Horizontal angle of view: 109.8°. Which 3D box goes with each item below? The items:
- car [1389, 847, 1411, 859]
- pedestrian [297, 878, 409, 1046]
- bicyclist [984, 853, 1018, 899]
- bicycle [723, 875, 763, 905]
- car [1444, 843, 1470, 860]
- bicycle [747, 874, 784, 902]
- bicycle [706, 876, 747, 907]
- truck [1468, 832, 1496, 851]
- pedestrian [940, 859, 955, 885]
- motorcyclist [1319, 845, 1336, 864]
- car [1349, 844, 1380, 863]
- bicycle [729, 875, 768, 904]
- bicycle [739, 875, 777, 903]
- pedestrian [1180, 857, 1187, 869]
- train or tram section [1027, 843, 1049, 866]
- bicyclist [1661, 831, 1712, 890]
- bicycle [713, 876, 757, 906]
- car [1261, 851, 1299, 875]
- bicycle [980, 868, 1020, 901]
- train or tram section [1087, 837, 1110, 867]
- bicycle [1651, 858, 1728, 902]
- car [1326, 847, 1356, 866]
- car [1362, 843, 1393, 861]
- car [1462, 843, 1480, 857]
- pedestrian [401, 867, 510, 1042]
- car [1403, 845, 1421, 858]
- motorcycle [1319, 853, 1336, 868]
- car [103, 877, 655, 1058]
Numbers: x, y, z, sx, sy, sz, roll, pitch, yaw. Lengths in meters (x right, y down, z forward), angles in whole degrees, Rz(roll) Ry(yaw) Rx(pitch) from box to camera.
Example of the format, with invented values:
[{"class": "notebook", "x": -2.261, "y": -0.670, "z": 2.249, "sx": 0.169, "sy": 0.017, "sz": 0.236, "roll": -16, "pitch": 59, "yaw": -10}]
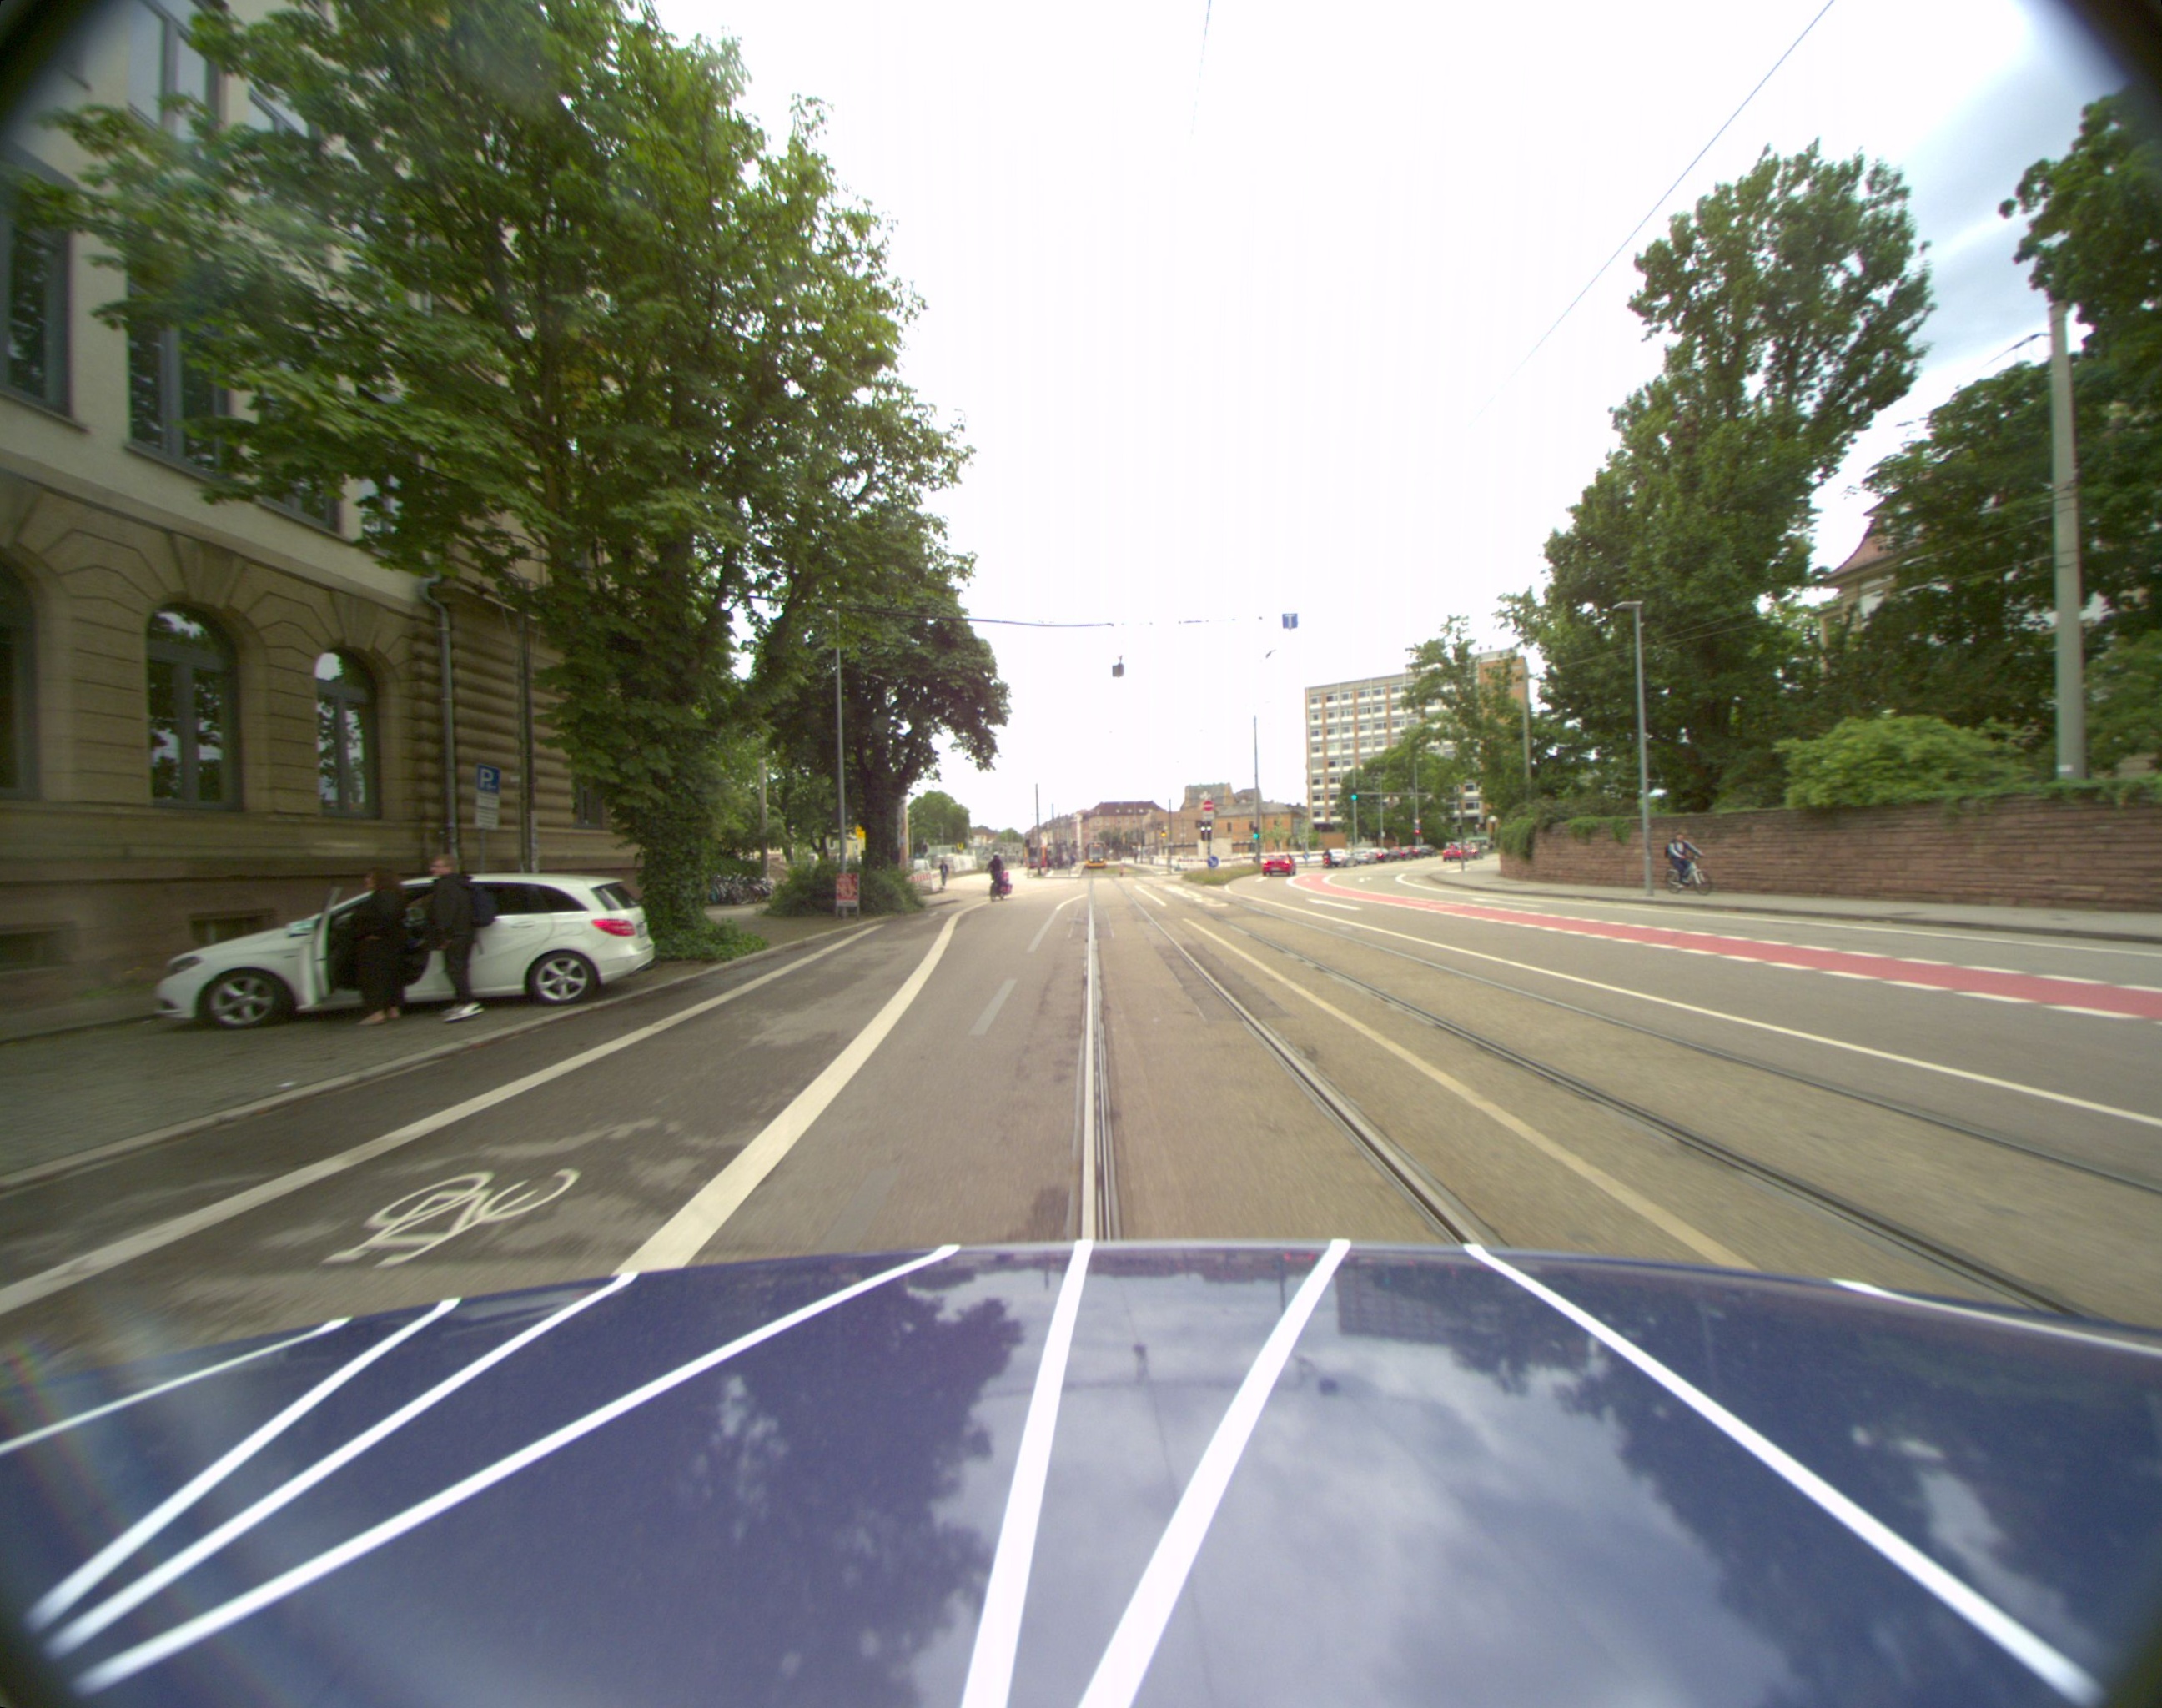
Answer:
[{"class": "car", "x": 32.833, "y": -0.093, "z": 78.182, "sx": 1.420, "sy": 1.164, "sz": 3.077, "roll": -1, "pitch": 1, "yaw": 37}, {"class": "pedestrian", "x": -7.494, "y": 1.072, "z": 7.852, "sx": 0.592, "sy": 1.616, "sz": 0.643, "roll": -2, "pitch": 1, "yaw": -23}, {"class": "bicyclist", "x": -3.245, "y": 0.879, "z": 30.929, "sx": 0.880, "sy": 1.811, "sz": 1.480, "roll": -2, "pitch": -1, "yaw": 14}, {"class": "bicycle", "x": -13.549, "y": 1.450, "z": 30.466, "sx": 1.341, "sy": 1.119, "sz": 0.476, "roll": -2, "pitch": 1, "yaw": 3}, {"class": "car", "x": 36.697, "y": -0.266, "z": 74.103, "sx": 1.828, "sy": 1.573, "sz": 4.007, "roll": -2, "pitch": 1, "yaw": 33}, {"class": "bicycle", "x": -13.335, "y": 1.434, "z": 32.118, "sx": 1.341, "sy": 1.119, "sz": 0.476, "roll": -2, "pitch": 1, "yaw": 3}, {"class": "bicycle", "x": -13.680, "y": 1.446, "z": 29.368, "sx": 1.382, "sy": 1.155, "sz": 0.425, "roll": 0, "pitch": 3, "yaw": 4}, {"class": "truck", "x": 68.294, "y": -2.156, "z": 129.304, "sx": 3.485, "sy": 2.962, "sz": 7.627, "roll": -2, "pitch": 1, "yaw": 33}, {"class": "pedestrian", "x": -9.051, "y": 1.207, "z": 51.451, "sx": 0.917, "sy": 1.699, "sz": 1.157, "roll": -2, "pitch": 1, "yaw": -11}, {"class": "motorcyclist", "x": 19.325, "y": 0.026, "z": 59.491, "sx": 1.074, "sy": 1.477, "sz": 1.253, "roll": -2, "pitch": 0, "yaw": 23}, {"class": "car", "x": 25.705, "y": -0.076, "z": 68.800, "sx": 1.682, "sy": 1.641, "sz": 3.988, "roll": -1, "pitch": 1, "yaw": 35}, {"class": "bicycle", "x": -13.545, "y": 1.447, "z": 30.966, "sx": 1.341, "sy": 1.119, "sz": 0.476, "roll": -2, "pitch": 1, "yaw": 3}, {"class": "bicycle", "x": -13.360, "y": 1.438, "z": 31.454, "sx": 1.341, "sy": 1.119, "sz": 0.476, "roll": -2, "pitch": 1, "yaw": 3}, {"class": "pedestrian", "x": 8.753, "y": 0.753, "z": 65.171, "sx": 0.544, "sy": 1.050, "sz": 0.637, "roll": -2, "pitch": 1, "yaw": 9}, {"class": "train or tram section", "x": -5.658, "y": 0.086, "z": 101.252, "sx": 2.609, "sy": 2.936, "sz": 4.965, "roll": -2, "pitch": 0, "yaw": -1}, {"class": "bicyclist", "x": 17.620, "y": 0.182, "z": 22.126, "sx": 0.776, "sy": 1.681, "sz": 0.869, "roll": -2, "pitch": 1, "yaw": 1}, {"class": "bicycle", "x": -13.671, "y": 1.456, "z": 30.014, "sx": 1.523, "sy": 1.119, "sz": 0.476, "roll": 0, "pitch": 2, "yaw": 3}, {"class": "car", "x": 12.792, "y": 0.549, "z": 48.693, "sx": 1.757, "sy": 1.490, "sz": 4.006, "roll": 0, "pitch": 1, "yaw": 23}, {"class": "bicycle", "x": -3.258, "y": 1.210, "z": 30.823, "sx": 0.852, "sy": 1.234, "sz": 2.312, "roll": -2, "pitch": -1, "yaw": 14}, {"class": "train or tram section", "x": 2.175, "y": -0.213, "z": 97.340, "sx": 2.631, "sy": 3.659, "sz": 5.984, "roll": -2, "pitch": 0, "yaw": -1}, {"class": "bicycle", "x": 17.634, "y": 0.733, "z": 22.082, "sx": 0.776, "sy": 1.205, "sz": 1.869, "roll": -2, "pitch": 0, "yaw": 1}, {"class": "car", "x": 21.405, "y": 0.183, "z": 62.486, "sx": 1.491, "sy": 1.500, "sz": 3.476, "roll": -1, "pitch": 1, "yaw": 34}, {"class": "car", "x": 28.661, "y": -0.191, "z": 73.437, "sx": 1.782, "sy": 1.601, "sz": 4.332, "roll": -1, "pitch": 1, "yaw": 36}, {"class": "car", "x": 41.403, "y": -0.448, "z": 80.623, "sx": 1.582, "sy": 1.390, "sz": 4.007, "roll": -2, "pitch": 0, "yaw": 28}, {"class": "pedestrian", "x": -6.624, "y": 1.023, "z": 8.054, "sx": 0.684, "sy": 1.740, "sz": 0.615, "roll": -2, "pitch": 1, "yaw": 28}, {"class": "car", "x": 36.709, "y": -0.283, "z": 84.200, "sx": 1.412, "sy": 1.324, "sz": 3.316, "roll": -2, "pitch": 1, "yaw": 29}, {"class": "motorcycle", "x": 19.234, "y": 0.484, "z": 59.231, "sx": 1.054, "sy": 1.063, "sz": 2.652, "roll": -2, "pitch": 0, "yaw": 23}, {"class": "car", "x": -7.590, "y": 1.129, "z": 8.852, "sx": 4.330, "sy": 1.542, "sz": 1.747, "roll": -2, "pitch": 0, "yaw": -22}]
